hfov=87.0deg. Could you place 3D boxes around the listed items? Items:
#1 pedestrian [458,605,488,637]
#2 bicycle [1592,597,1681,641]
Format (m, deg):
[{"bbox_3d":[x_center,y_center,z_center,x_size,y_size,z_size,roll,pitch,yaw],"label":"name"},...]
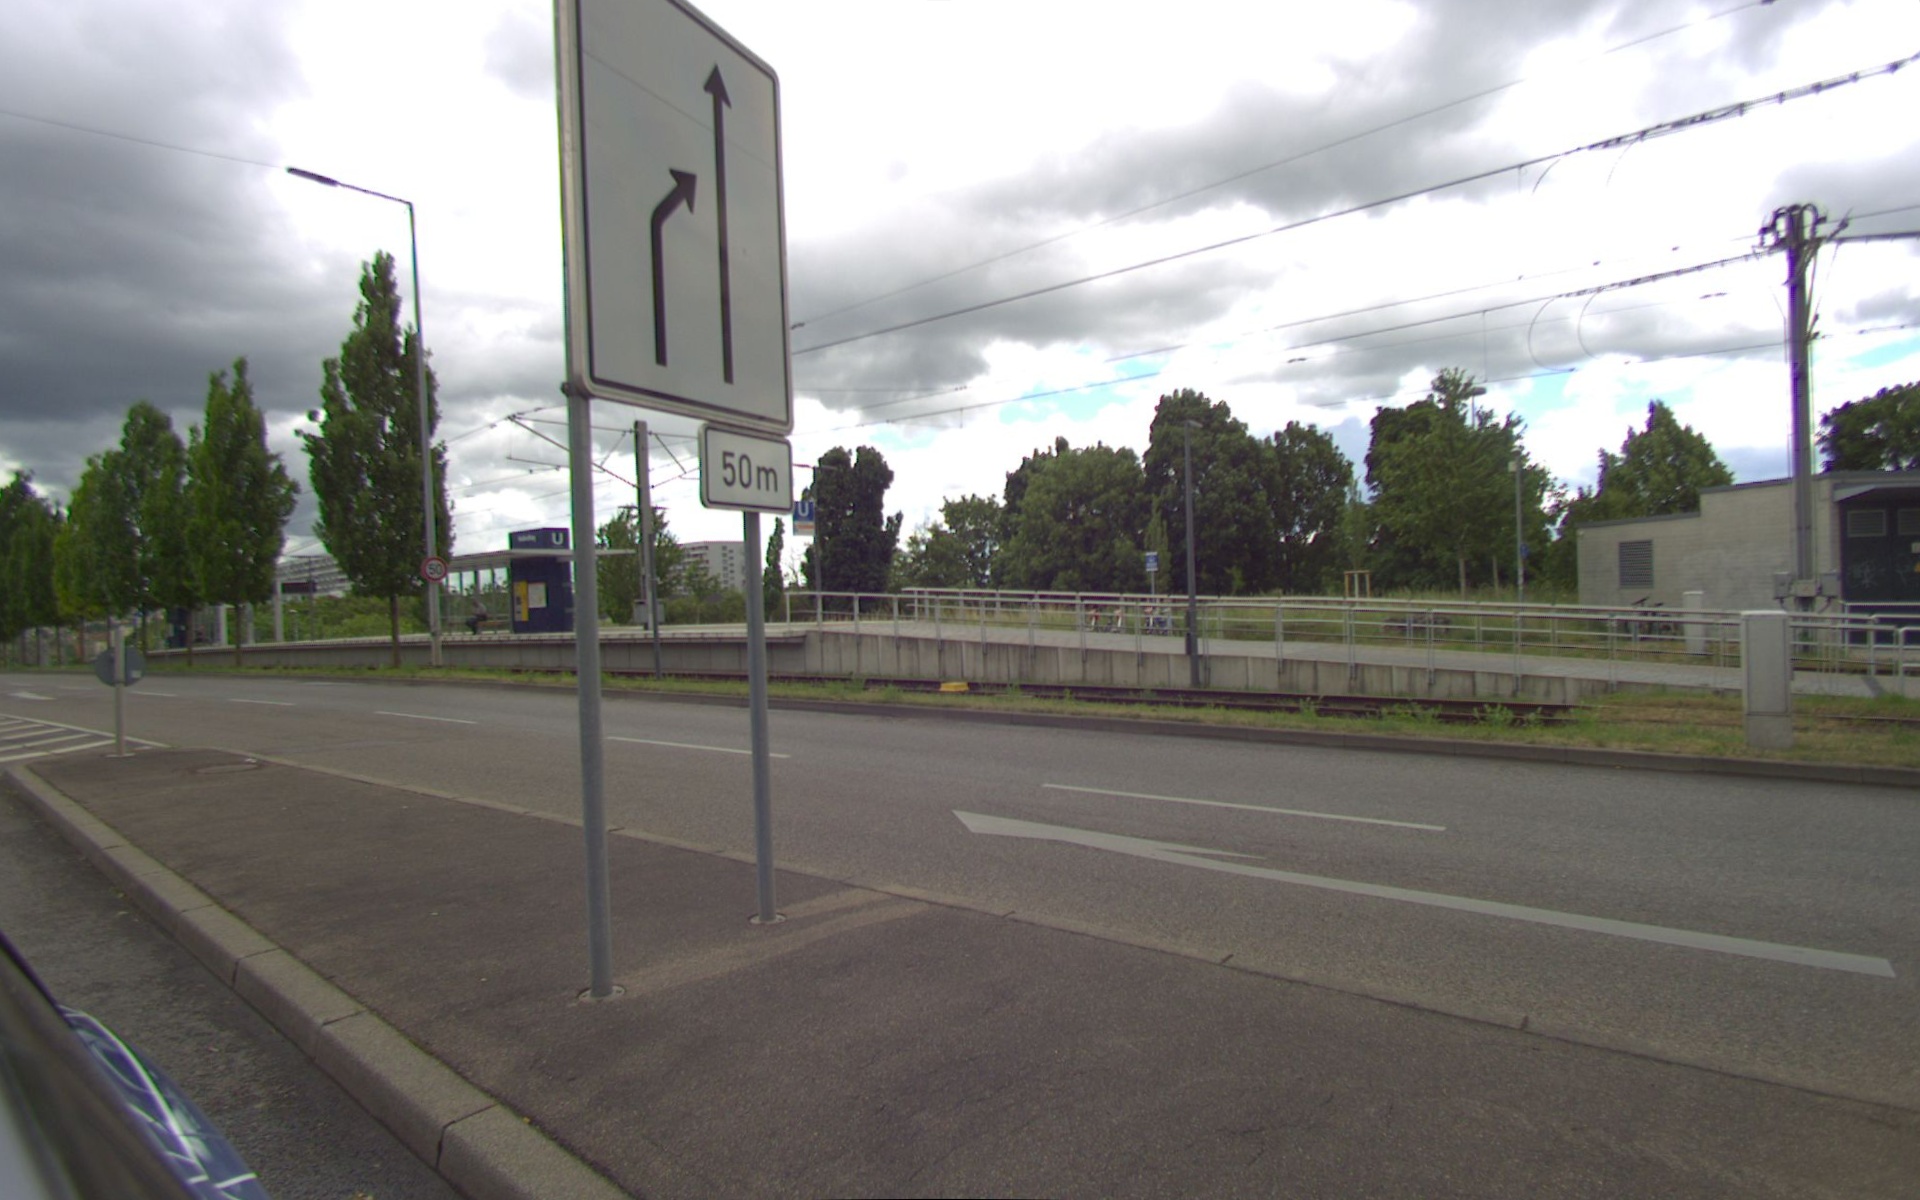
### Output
[{"bbox_3d":[-18.317,0.777,38.089,0.837,1.184,0.741,-1,0,40],"label":"pedestrian"},{"bbox_3d":[18.195,0.491,27.281,0.668,1.114,2.260,-1,0,-7],"label":"bicycle"}]
